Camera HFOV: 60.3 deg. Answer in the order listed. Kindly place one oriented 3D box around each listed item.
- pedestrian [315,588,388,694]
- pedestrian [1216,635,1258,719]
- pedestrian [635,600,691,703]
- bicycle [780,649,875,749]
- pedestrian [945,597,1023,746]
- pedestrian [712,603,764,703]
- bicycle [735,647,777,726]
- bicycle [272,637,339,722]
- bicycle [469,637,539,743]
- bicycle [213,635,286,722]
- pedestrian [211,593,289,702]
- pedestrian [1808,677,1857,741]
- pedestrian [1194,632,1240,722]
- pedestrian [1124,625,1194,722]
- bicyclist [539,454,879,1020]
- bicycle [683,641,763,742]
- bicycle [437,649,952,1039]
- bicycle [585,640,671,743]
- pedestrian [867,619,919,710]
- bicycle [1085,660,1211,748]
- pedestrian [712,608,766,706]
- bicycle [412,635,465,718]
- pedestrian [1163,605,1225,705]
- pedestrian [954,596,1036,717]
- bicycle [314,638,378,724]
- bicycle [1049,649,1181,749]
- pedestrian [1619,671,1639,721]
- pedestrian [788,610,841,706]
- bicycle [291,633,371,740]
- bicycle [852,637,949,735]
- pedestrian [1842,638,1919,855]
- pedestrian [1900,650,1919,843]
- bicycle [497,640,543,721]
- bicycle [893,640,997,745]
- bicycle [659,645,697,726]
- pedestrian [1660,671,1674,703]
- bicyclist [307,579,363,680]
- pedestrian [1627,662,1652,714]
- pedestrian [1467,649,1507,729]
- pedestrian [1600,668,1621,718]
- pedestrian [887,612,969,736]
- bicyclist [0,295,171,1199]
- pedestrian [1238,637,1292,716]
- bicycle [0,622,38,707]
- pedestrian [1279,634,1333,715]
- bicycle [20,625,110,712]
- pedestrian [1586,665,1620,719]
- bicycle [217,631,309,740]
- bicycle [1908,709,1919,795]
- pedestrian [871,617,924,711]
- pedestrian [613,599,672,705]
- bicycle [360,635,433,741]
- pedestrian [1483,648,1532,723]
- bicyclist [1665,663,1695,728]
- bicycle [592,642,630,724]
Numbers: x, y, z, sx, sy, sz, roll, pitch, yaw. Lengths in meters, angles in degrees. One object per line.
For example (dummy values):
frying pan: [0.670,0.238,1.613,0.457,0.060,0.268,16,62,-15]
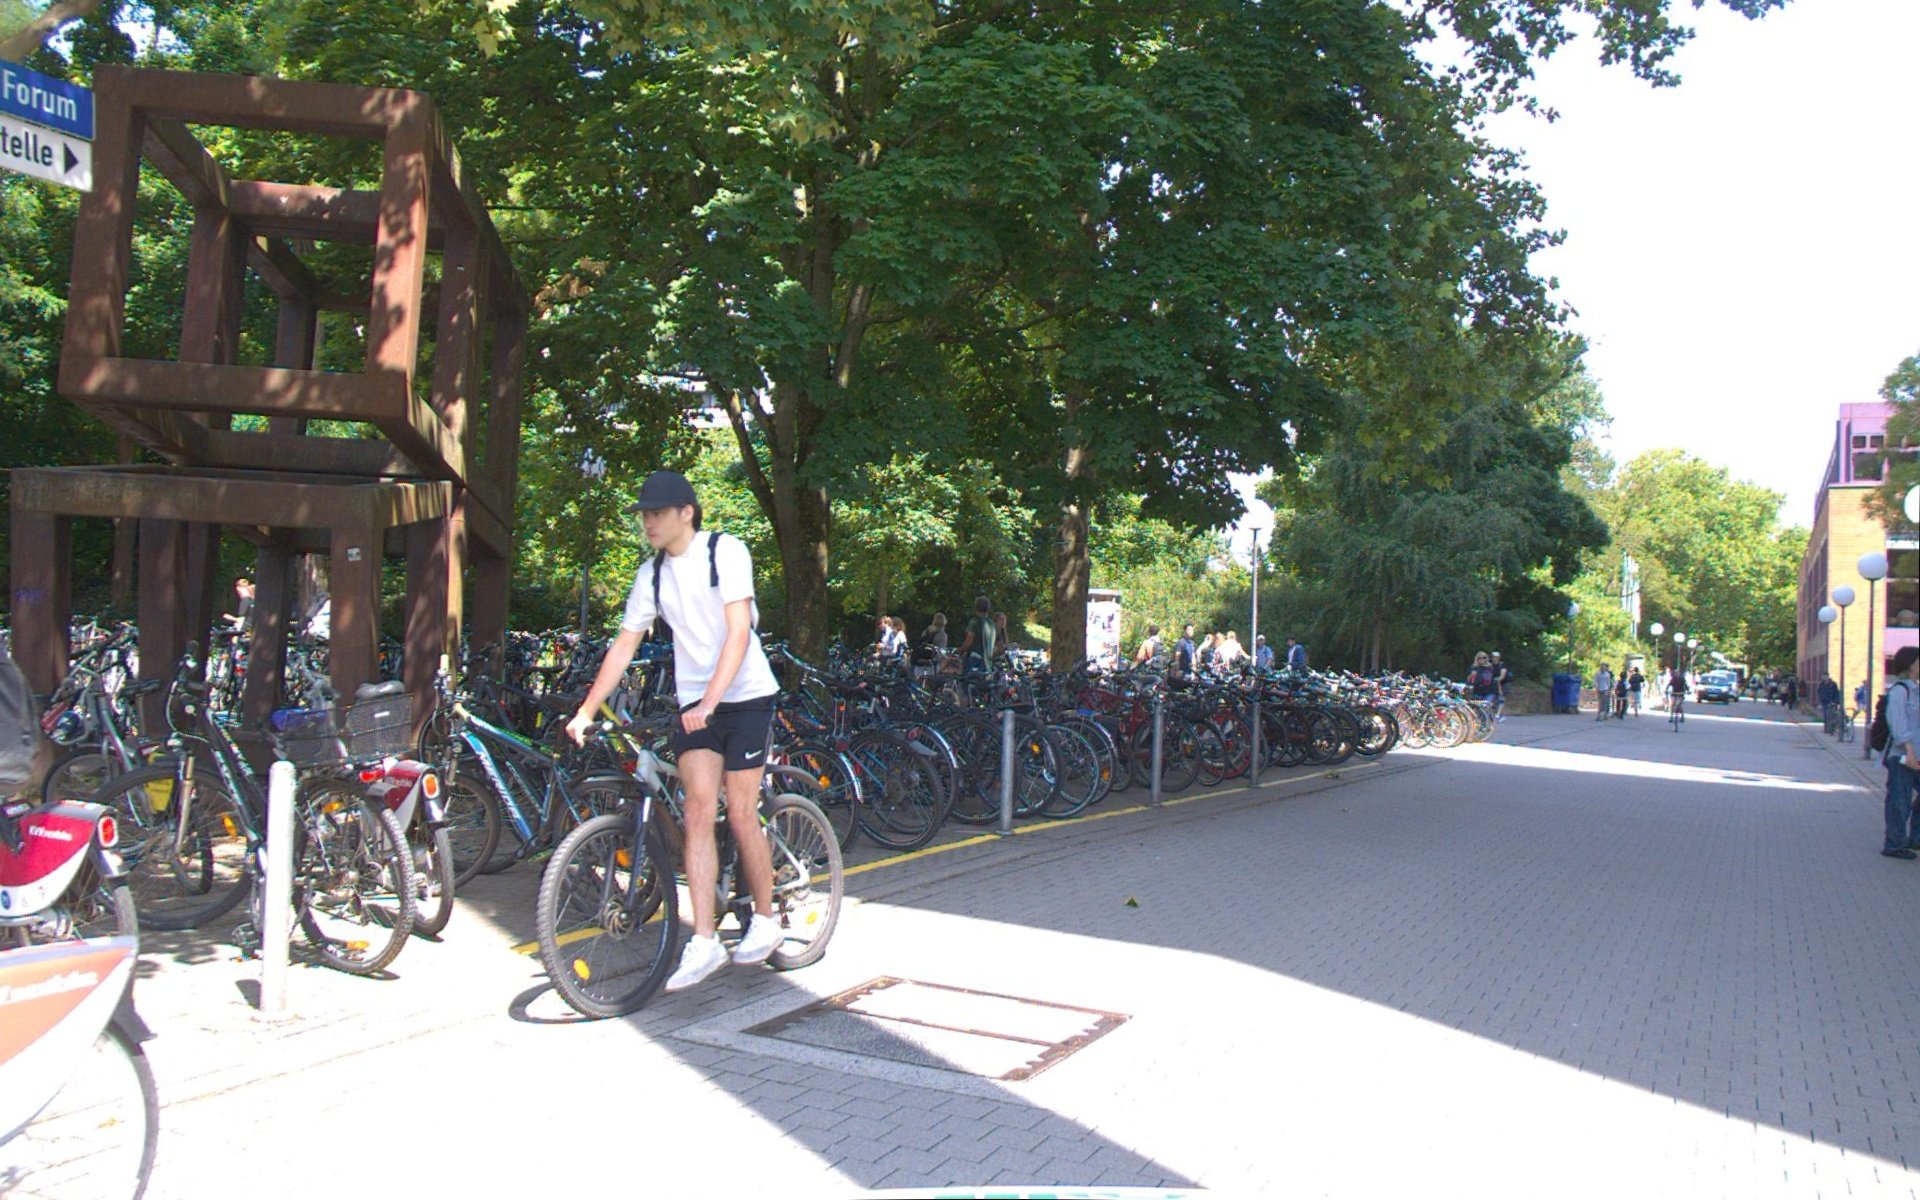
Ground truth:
pedestrian: [-10.670,0.714,29.020,0.885,1.805,0.770,2,-1,4]
pedestrian: [5.878,1.628,35.112,0.671,1.754,0.729,1,-1,-10]
pedestrian: [-5.361,0.933,29.923,0.887,1.805,0.769,2,-2,-7]
bicycle: [-1.633,1.191,20.178,0.495,1.127,1.684,3,-2,-27]
pedestrian: [0.305,0.898,21.022,0.755,1.838,0.706,3,-2,-16]
pedestrian: [-4.130,0.980,30.807,0.887,1.805,0.769,2,-2,-7]
bicycle: [-3.059,1.272,24.714,0.464,1.102,1.695,3,-2,-11]
bicycle: [-8.980,1.069,22.751,0.464,1.102,1.854,3,-2,-11]
bicycle: [-5.265,1.015,19.048,0.494,1.127,1.687,3,-2,-23]
bicycle: [-9.636,1.044,22.483,0.464,1.102,1.854,3,-2,-11]
pedestrian: [-12.098,0.803,28.201,0.885,1.805,0.770,2,-1,3]
pedestrian: [27.326,3.410,51.825,1.008,1.890,0.888,3,-1,1]
pedestrian: [5.176,1.548,33.259,0.670,1.754,0.731,2,-2,24]
pedestrian: [3.694,1.353,30.696,1.050,1.754,0.711,2,-2,-31]
bicyclist: [-0.929,0.469,6.215,0.789,1.925,0.864,2,-2,35]
bicycle: [-2.872,1.082,19.913,0.494,1.127,1.687,3,-2,-23]
bicycle: [-0.916,0.825,6.251,0.789,1.192,1.880,2,-1,35]
bicycle: [-3.940,1.056,19.534,0.621,1.127,1.687,3,-2,-23]
pedestrian: [-1.299,1.246,32.056,0.887,1.709,0.769,2,-2,-7]
bicycle: [2.637,1.451,23.225,1.658,1.127,0.503,2,-2,15]
pedestrian: [-3.984,1.026,29.901,0.887,1.709,0.769,2,-2,-7]
bicycle: [-7.314,1.052,23.232,0.464,1.102,1.695,3,-2,-11]
pedestrian: [4.427,1.040,31.346,0.928,1.867,0.679,2,-2,-30]
pedestrian: [0.509,0.825,24.277,0.895,1.733,0.762,3,-2,-31]
bicycle: [-8.419,1.086,22.728,0.464,1.102,1.854,3,-2,-11]
bicycle: [2.092,1.325,22.321,1.658,1.241,0.503,2,-2,15]
pedestrian: [22.467,3.215,55.505,0.557,1.639,0.918,2,-2,23]
pedestrian: [-2.706,1.070,30.672,0.887,1.709,0.769,2,-2,-7]
bicycle: [-7.087,0.954,18.694,0.492,1.127,1.775,3,-2,-11]
bicycle: [-0.754,1.052,20.518,0.495,1.127,1.684,3,-2,-27]
pedestrian: [7.809,1.184,13.424,0.665,1.699,0.891,4,-2,-26]
pedestrian: [8.662,1.263,14.157,0.792,1.646,0.737,2,-2,-17]
bicycle: [-6.344,1.147,23.885,0.464,1.102,1.695,3,-2,-11]
bicycle: [-0.204,1.145,20.774,0.567,1.221,1.684,3,-2,-27]
bicycle: [-4.129,1.229,24.172,0.464,1.102,1.695,3,-2,-11]
pedestrian: [42.414,5.237,99.234,0.669,1.876,0.782,2,-2,26]
bicyclist: [-10.160,0.479,26.910,0.707,1.595,0.593,3,-2,-14]
pedestrian: [25.200,3.279,61.339,0.671,1.876,0.780,1,-3,37]
pedestrian: [11.539,1.935,36.194,0.752,1.709,0.907,1,-1,23]
pedestrian: [25.140,3.589,63.929,0.668,1.905,1.121,2,-2,22]
pedestrian: [-0.468,1.067,23.859,0.893,1.733,0.763,3,-2,-27]
bicyclist: [-2.051,0.421,2.887,0.663,1.920,0.964,2,0,41]
pedestrian: [7.266,1.829,39.440,0.971,1.835,0.762,3,-2,-31]
bicycle: [-13.008,0.859,22.236,0.464,1.102,1.854,3,-2,-11]
pedestrian: [8.127,1.739,38.816,0.870,1.847,0.826,3,-2,-30]
bicycle: [-12.037,0.904,22.293,0.464,1.102,1.854,3,-2,-11]
pedestrian: [23.108,3.300,59.462,0.767,1.877,1.118,3,-1,2]
bicycle: [-7.661,0.913,18.249,0.492,1.127,1.901,3,-2,-11]
bicycle: [12.803,1.987,21.668,0.526,1.058,1.857,0,-2,25]
pedestrian: [-1.189,1.204,31.241,0.887,1.709,0.769,2,-2,-7]
pedestrian: [-5.574,0.916,29.096,0.887,1.805,0.769,2,-2,-7]
bicycle: [-6.389,0.975,18.816,0.492,1.127,1.775,3,-2,-11]
pedestrian: [14.032,2.181,42.400,1.034,1.867,0.609,3,-2,-27]
bicyclist: [20.000,2.650,45.967,0.756,1.746,0.910,0,-3,23]
bicycle: [-4.987,1.165,23.679,0.464,1.102,1.695,3,-2,-11]
